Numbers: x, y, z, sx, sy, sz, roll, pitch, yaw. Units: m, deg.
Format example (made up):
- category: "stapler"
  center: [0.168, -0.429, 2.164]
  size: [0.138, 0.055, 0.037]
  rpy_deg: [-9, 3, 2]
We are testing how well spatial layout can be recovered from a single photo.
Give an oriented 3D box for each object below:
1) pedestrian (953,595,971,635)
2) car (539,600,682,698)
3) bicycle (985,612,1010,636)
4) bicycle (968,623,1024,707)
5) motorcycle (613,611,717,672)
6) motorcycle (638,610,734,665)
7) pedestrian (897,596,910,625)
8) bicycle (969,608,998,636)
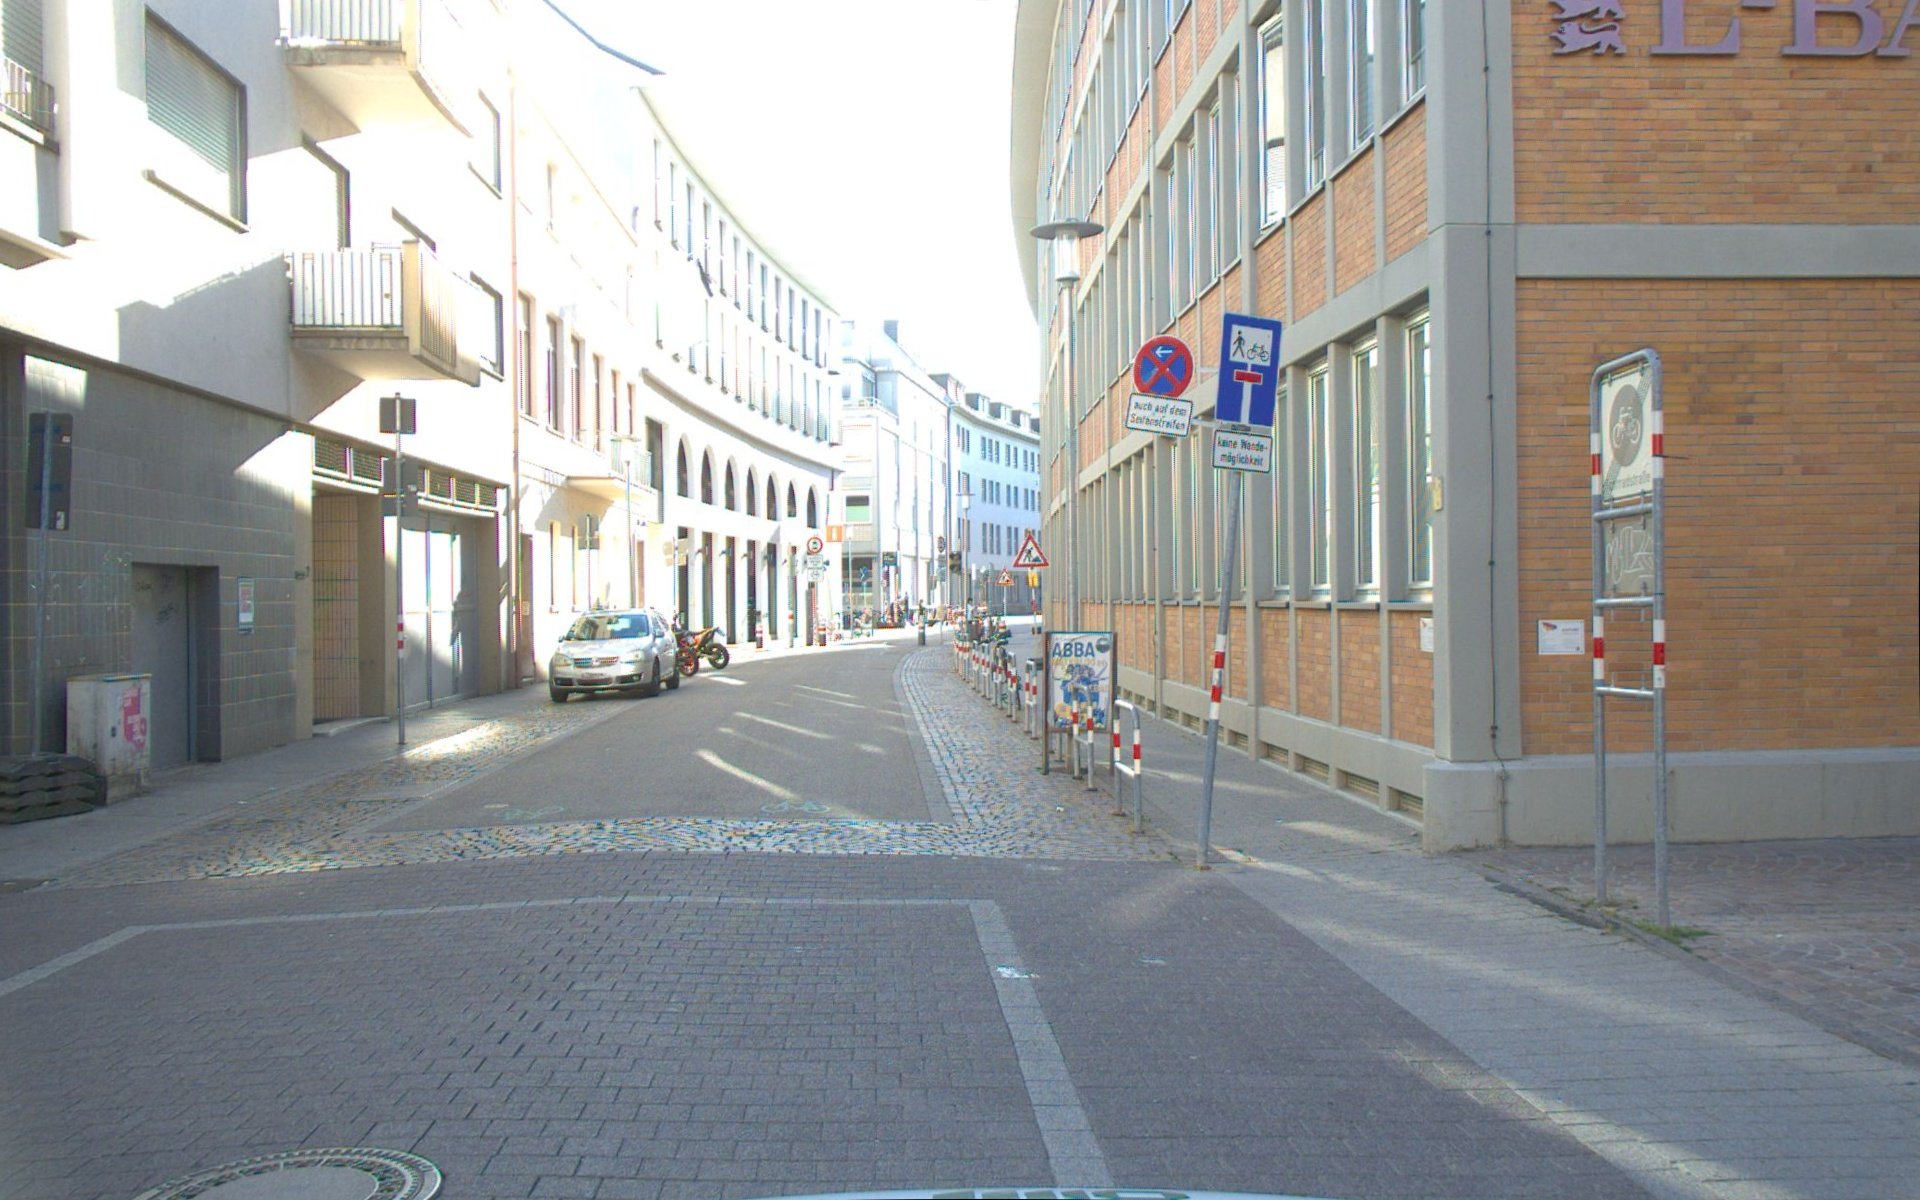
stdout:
- category: "pedestrian"
  center: [0.067, 0.567, 61.840]
  size: [0.644, 1.466, 0.595]
  rpy_deg: [0, 0, -1]
- category: "car"
  center: [-5.876, 0.775, 28.231]
  size: [1.730, 1.496, 3.811]
  rpy_deg: [-2, 0, -2]
- category: "bicycle"
  center: [1.634, 1.033, 71.440]
  size: [0.908, 0.977, 3.369]
  rpy_deg: [0, 0, 5]
- category: "bicycle"
  center: [0.501, 0.903, 23.700]
  size: [0.623, 1.136, 1.929]
  rpy_deg: [0, 0, -4]
- category: "motorcycle"
  center: [-6.356, 0.890, 35.614]
  size: [2.159, 1.267, 0.575]
  rpy_deg: [-1, 0, 17]
- category: "motorcycle"
  center: [-6.544, 0.885, 39.485]
  size: [2.234, 1.267, 0.575]
  rpy_deg: [-1, 0, 17]
- category: "pedestrian"
  center: [-3.045, 0.559, 89.330]
  size: [0.644, 1.555, 0.482]
  rpy_deg: [-1, 0, -1]
- category: "bicycle"
  center: [0.966, 0.861, 66.579]
  size: [0.908, 1.066, 3.369]
  rpy_deg: [0, 0, 5]
